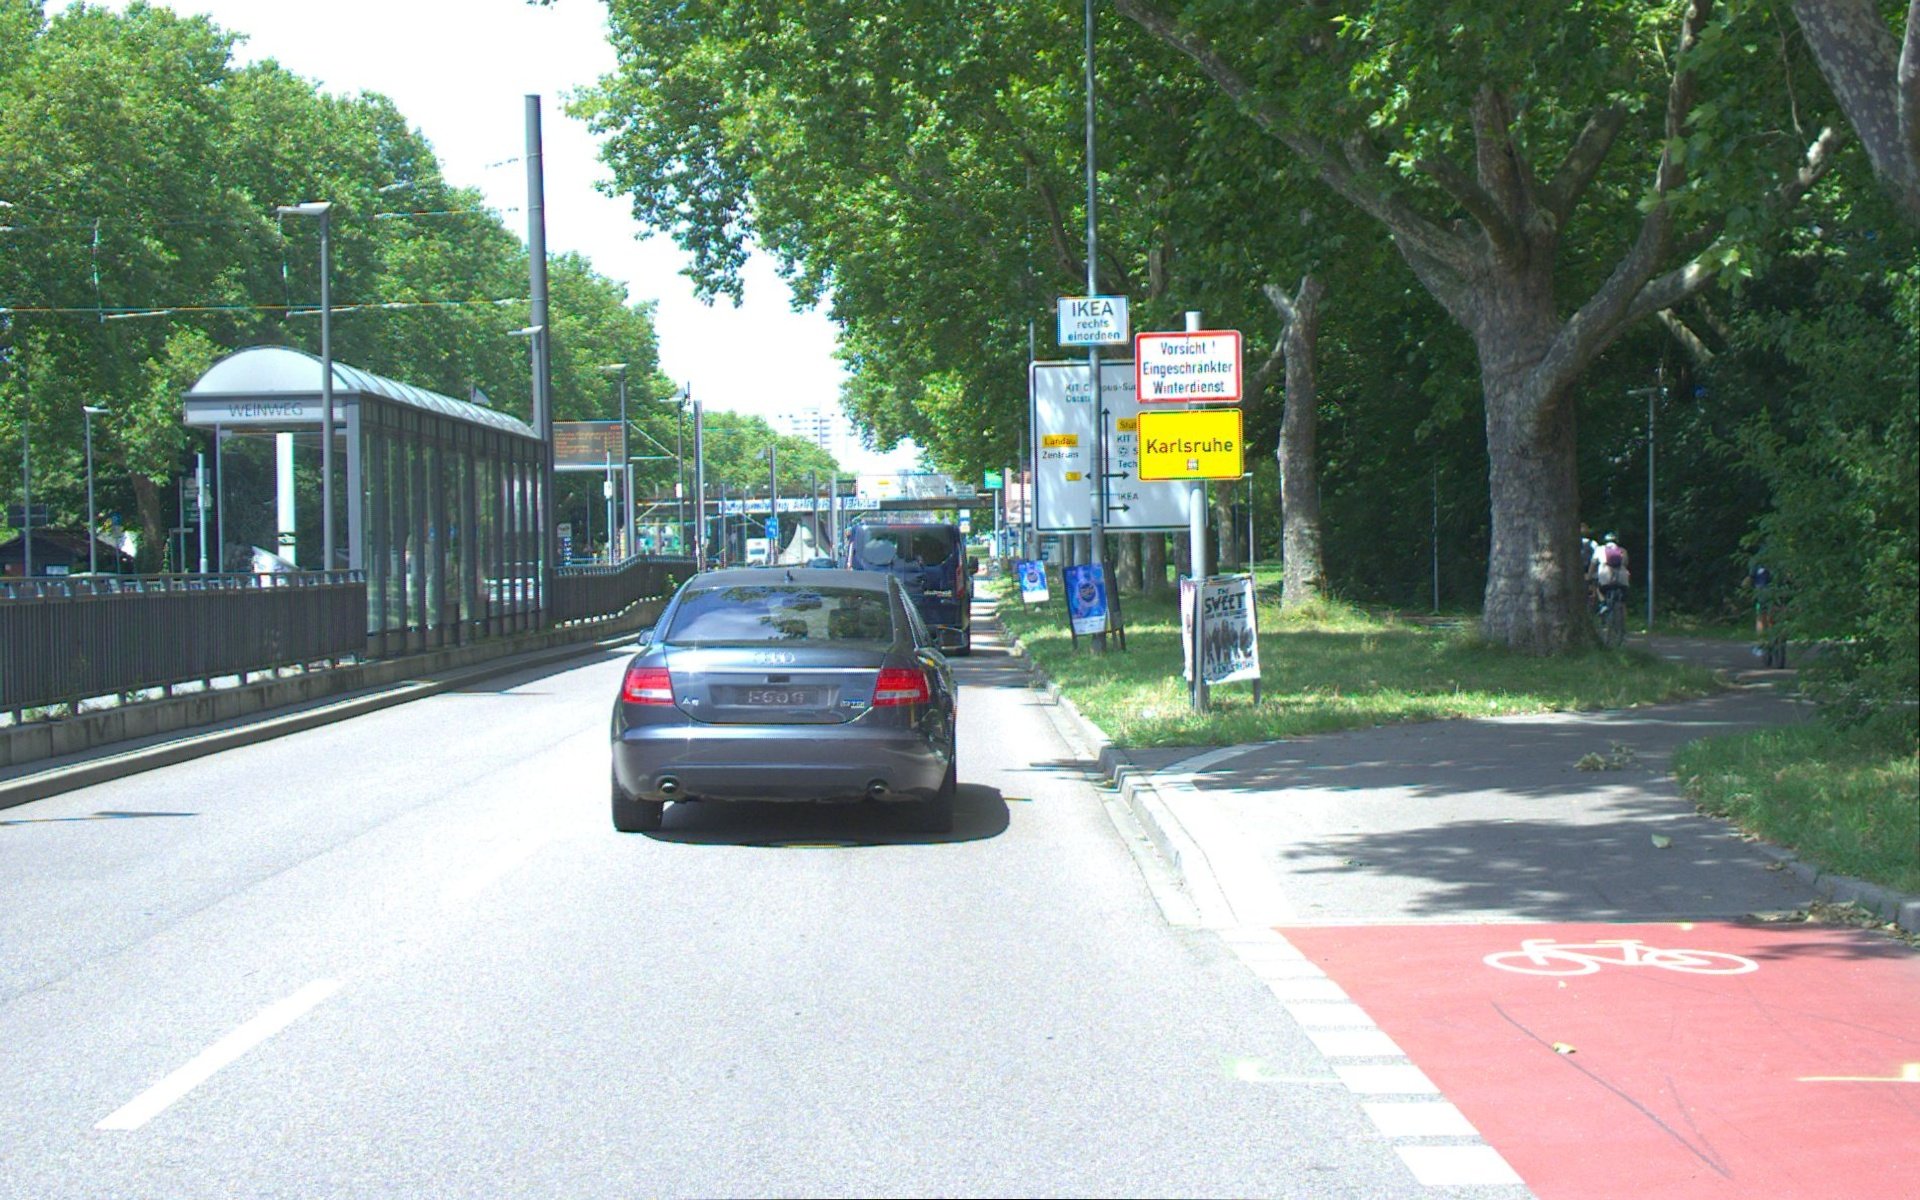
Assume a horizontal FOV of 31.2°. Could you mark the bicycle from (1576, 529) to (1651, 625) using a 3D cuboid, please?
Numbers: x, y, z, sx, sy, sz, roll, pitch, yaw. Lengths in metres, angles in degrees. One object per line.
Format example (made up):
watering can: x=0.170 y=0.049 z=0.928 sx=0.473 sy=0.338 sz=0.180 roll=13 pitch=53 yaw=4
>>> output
bicycle: x=9.940 y=-0.370 z=52.378 sx=0.610 sy=1.415 sz=2.662 roll=0 pitch=1 yaw=0

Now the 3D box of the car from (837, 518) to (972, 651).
car: x=-0.812 y=-0.258 z=52.726 sx=1.848 sy=1.953 sz=4.144 roll=1 pitch=1 yaw=2

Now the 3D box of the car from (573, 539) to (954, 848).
car: x=-0.994 y=0.439 z=19.368 sx=1.842 sy=1.479 sz=4.000 roll=-1 pitch=2 yaw=1

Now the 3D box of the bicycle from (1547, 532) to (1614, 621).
bicycle: x=10.210 y=-0.403 z=56.641 sx=0.610 sy=1.415 sz=2.662 roll=0 pitch=1 yaw=0

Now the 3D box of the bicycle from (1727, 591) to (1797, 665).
bicycle: x=10.130 y=0.344 z=43.452 sx=0.645 sy=0.884 sz=2.023 roll=0 pitch=1 yaw=7

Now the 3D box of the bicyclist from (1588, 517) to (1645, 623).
bicyclist: x=9.968 y=-0.455 z=52.247 sx=0.658 sy=1.593 sz=1.053 roll=-1 pitch=1 yaw=0

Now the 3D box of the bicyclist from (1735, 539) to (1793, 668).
bicyclist: x=10.136 y=0.034 z=43.358 sx=0.623 sy=1.604 sz=0.816 roll=0 pitch=1 yaw=7

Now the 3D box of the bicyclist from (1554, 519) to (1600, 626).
bicyclist: x=10.113 y=-0.459 z=56.321 sx=0.597 sy=1.740 sz=0.843 roll=0 pitch=1 yaw=0
